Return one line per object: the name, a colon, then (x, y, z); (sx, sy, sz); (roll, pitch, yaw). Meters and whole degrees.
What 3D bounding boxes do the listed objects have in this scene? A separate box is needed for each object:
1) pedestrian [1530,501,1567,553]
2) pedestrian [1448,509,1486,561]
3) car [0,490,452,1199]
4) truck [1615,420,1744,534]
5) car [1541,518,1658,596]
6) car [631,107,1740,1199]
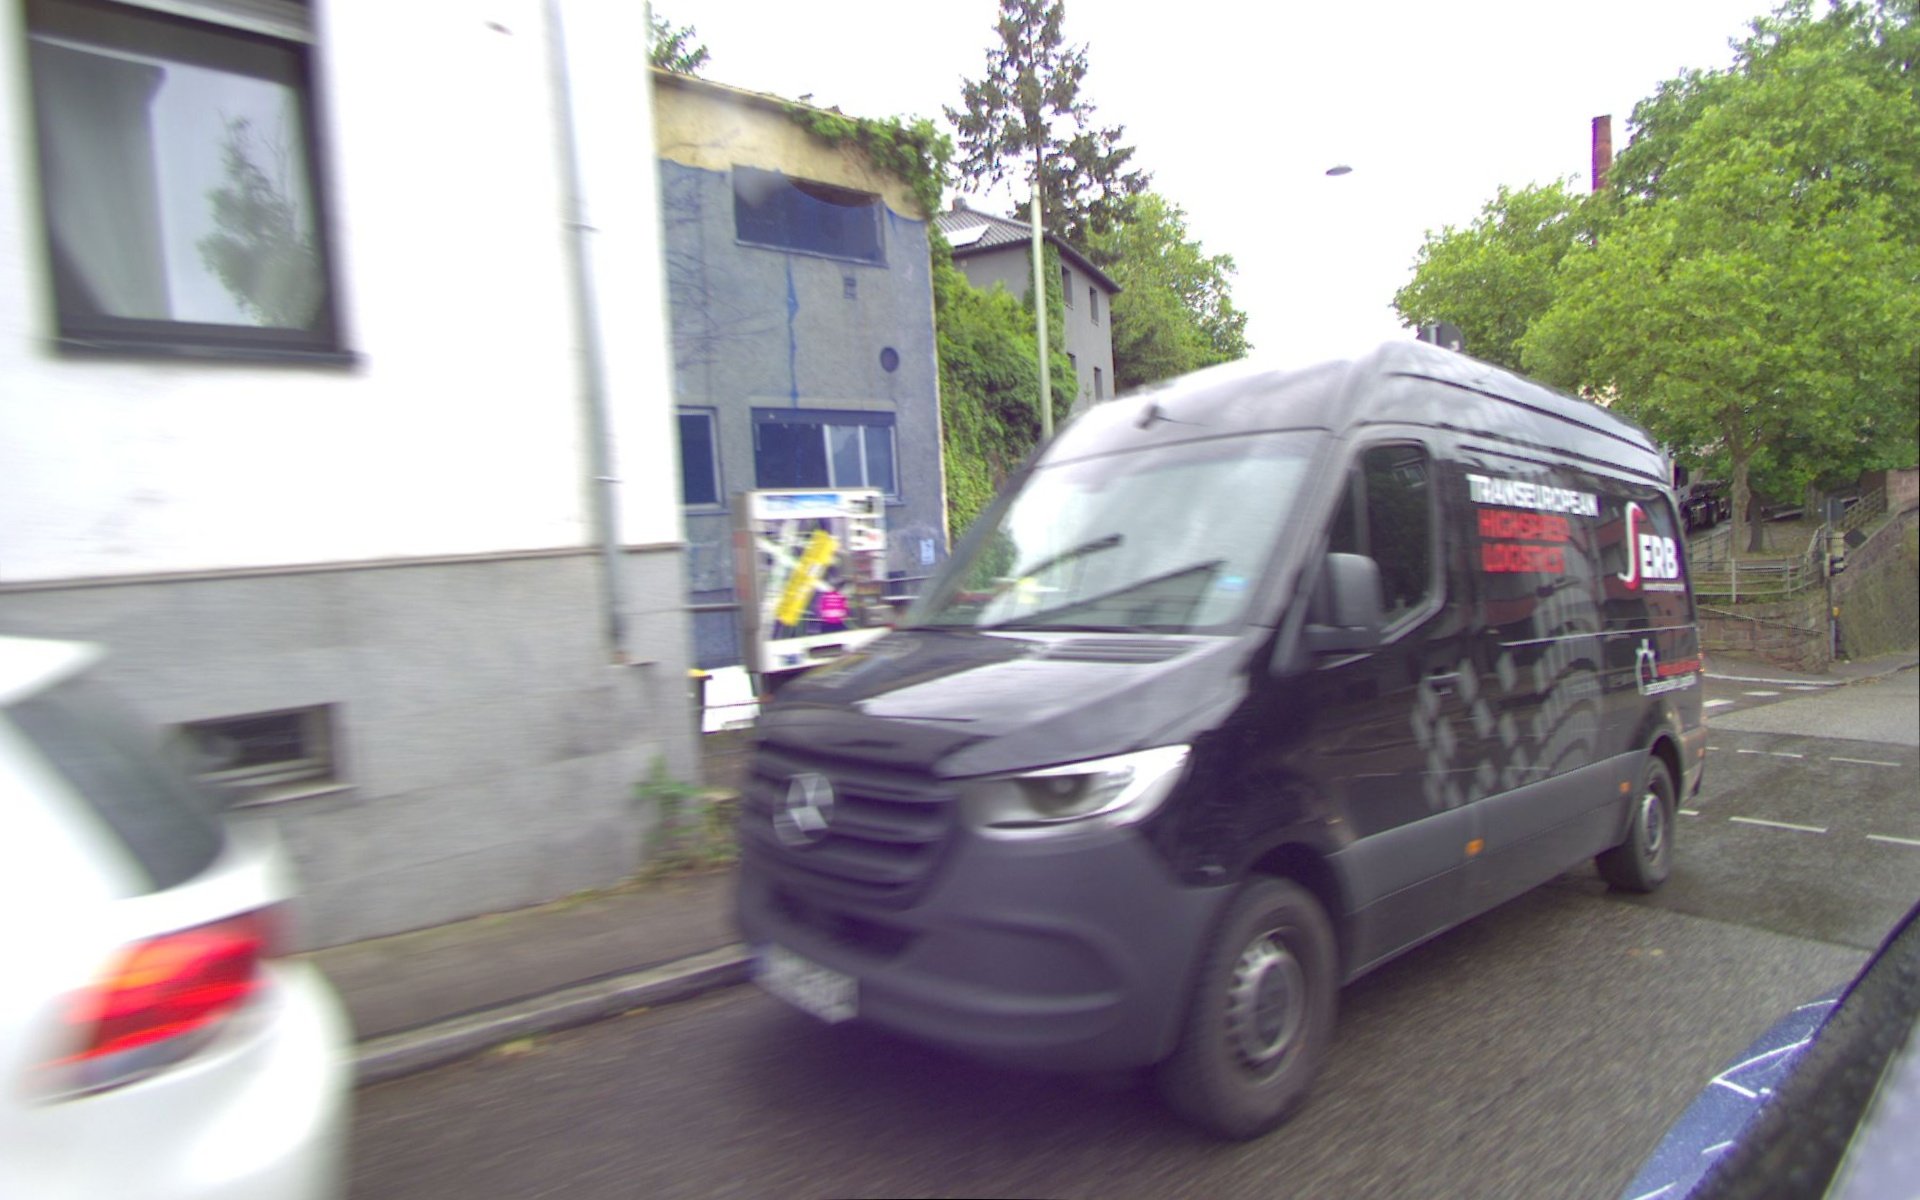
pedestrian: (19.386, -2.395, 33.334); (0.766, 1.697, 0.872); (0, 2, 10)
pedestrian: (16.769, -2.143, 33.479); (0.765, 1.697, 0.874); (-2, 3, -38)
car: (-3.067, 0.658, 0.992); (4.261, 1.531, 1.997); (-1, -1, -41)
truck: (28.512, -5.010, 39.831); (2.747, 3.343, 11.081); (2, 12, 43)
car: (17.255, -1.191, 27.231); (4.284, 1.509, 1.632); (-12, 7, -43)
car: (1.664, 0.102, 4.758); (5.735, 2.444, 1.997); (-3, 0, -41)
